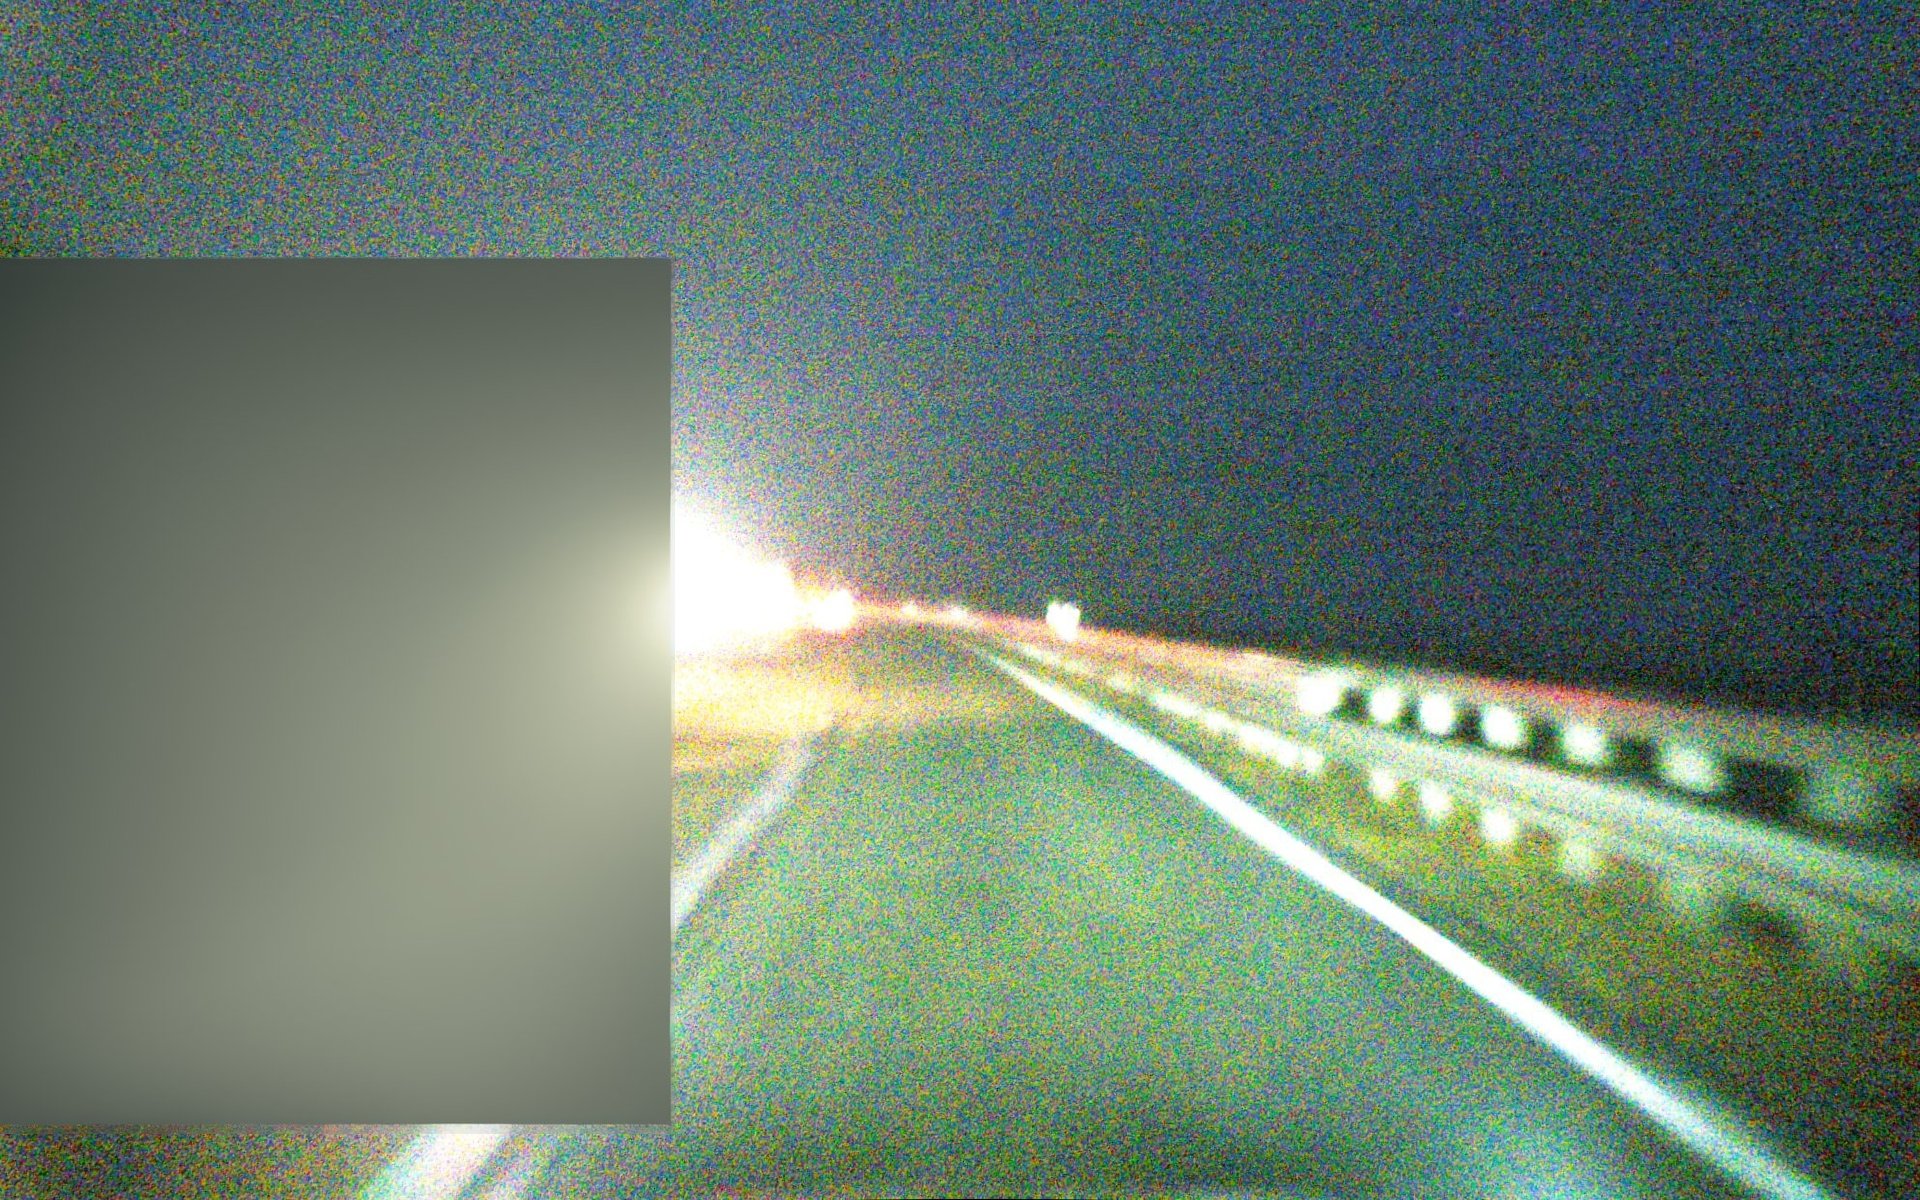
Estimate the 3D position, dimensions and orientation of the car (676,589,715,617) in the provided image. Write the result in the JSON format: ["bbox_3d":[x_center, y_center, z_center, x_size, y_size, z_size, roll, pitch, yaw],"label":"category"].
[{"bbox_3d":[-17.057,0.170,106.797,1.954,1.646,3.997,4,0,-3],"label":"car"}]

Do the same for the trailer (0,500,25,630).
[{"bbox_3d":[-31.943,-1.234,46.821,2.673,4.161,14.855,4,-1,-2],"label":"trailer"}]

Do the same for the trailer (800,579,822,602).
[{"bbox_3d":[-19.387,-1.167,214.973,2.635,2.746,12.842,4,0,-6],"label":"trailer"}]

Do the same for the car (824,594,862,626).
[{"bbox_3d":[-7.318,0.645,103.670,1.953,1.850,4.000,4,-1,0],"label":"car"}]

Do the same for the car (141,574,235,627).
[{"bbox_3d":[-32.724,0.018,70.224,1.954,2.048,4.403,4,-1,-2],"label":"car"}]

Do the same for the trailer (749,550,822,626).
[{"bbox_3d":[-9.715,-0.575,93.477,2.539,3.790,13.649,4,-1,-1],"label":"trailer"}]

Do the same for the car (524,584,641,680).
[{"bbox_3d":[-8.943,0.732,39.578,1.955,2.048,4.563,4,-1,-5],"label":"car"}]

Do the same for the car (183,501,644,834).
[{"bbox_3d":[-3.853,0.438,12.736,1.953,2.049,5.016,0,0,-1],"label":"car"}]
